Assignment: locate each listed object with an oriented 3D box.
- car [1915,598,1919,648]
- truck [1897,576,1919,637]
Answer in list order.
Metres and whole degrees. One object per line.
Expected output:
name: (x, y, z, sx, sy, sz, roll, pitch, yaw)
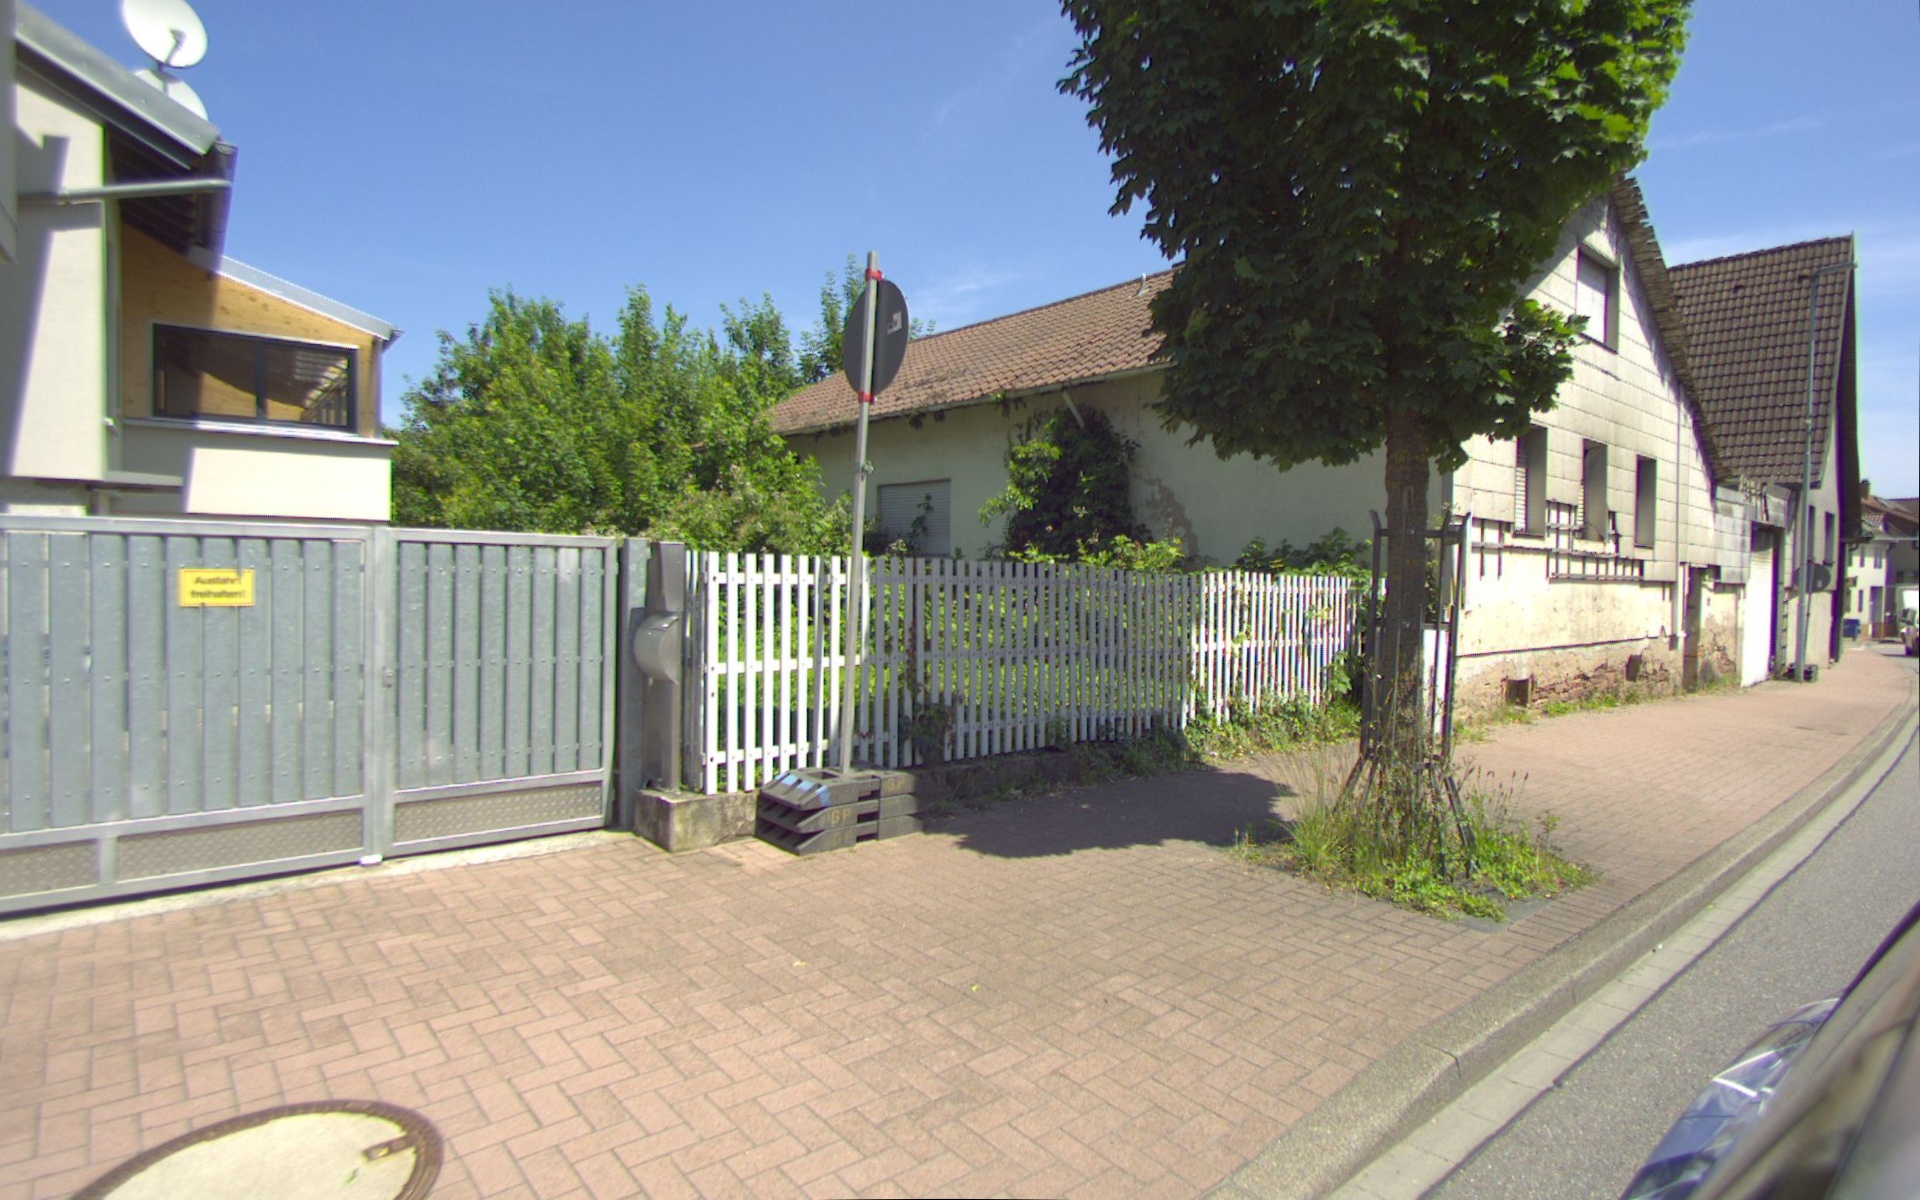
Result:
car: (39.236, 0.973, 39.818, 2.071, 1.985, 5.438, 1, 1, 40)
truck: (59.500, 0.388, 61.326, 8.173, 3.555, 2.867, -1, 3, -40)
